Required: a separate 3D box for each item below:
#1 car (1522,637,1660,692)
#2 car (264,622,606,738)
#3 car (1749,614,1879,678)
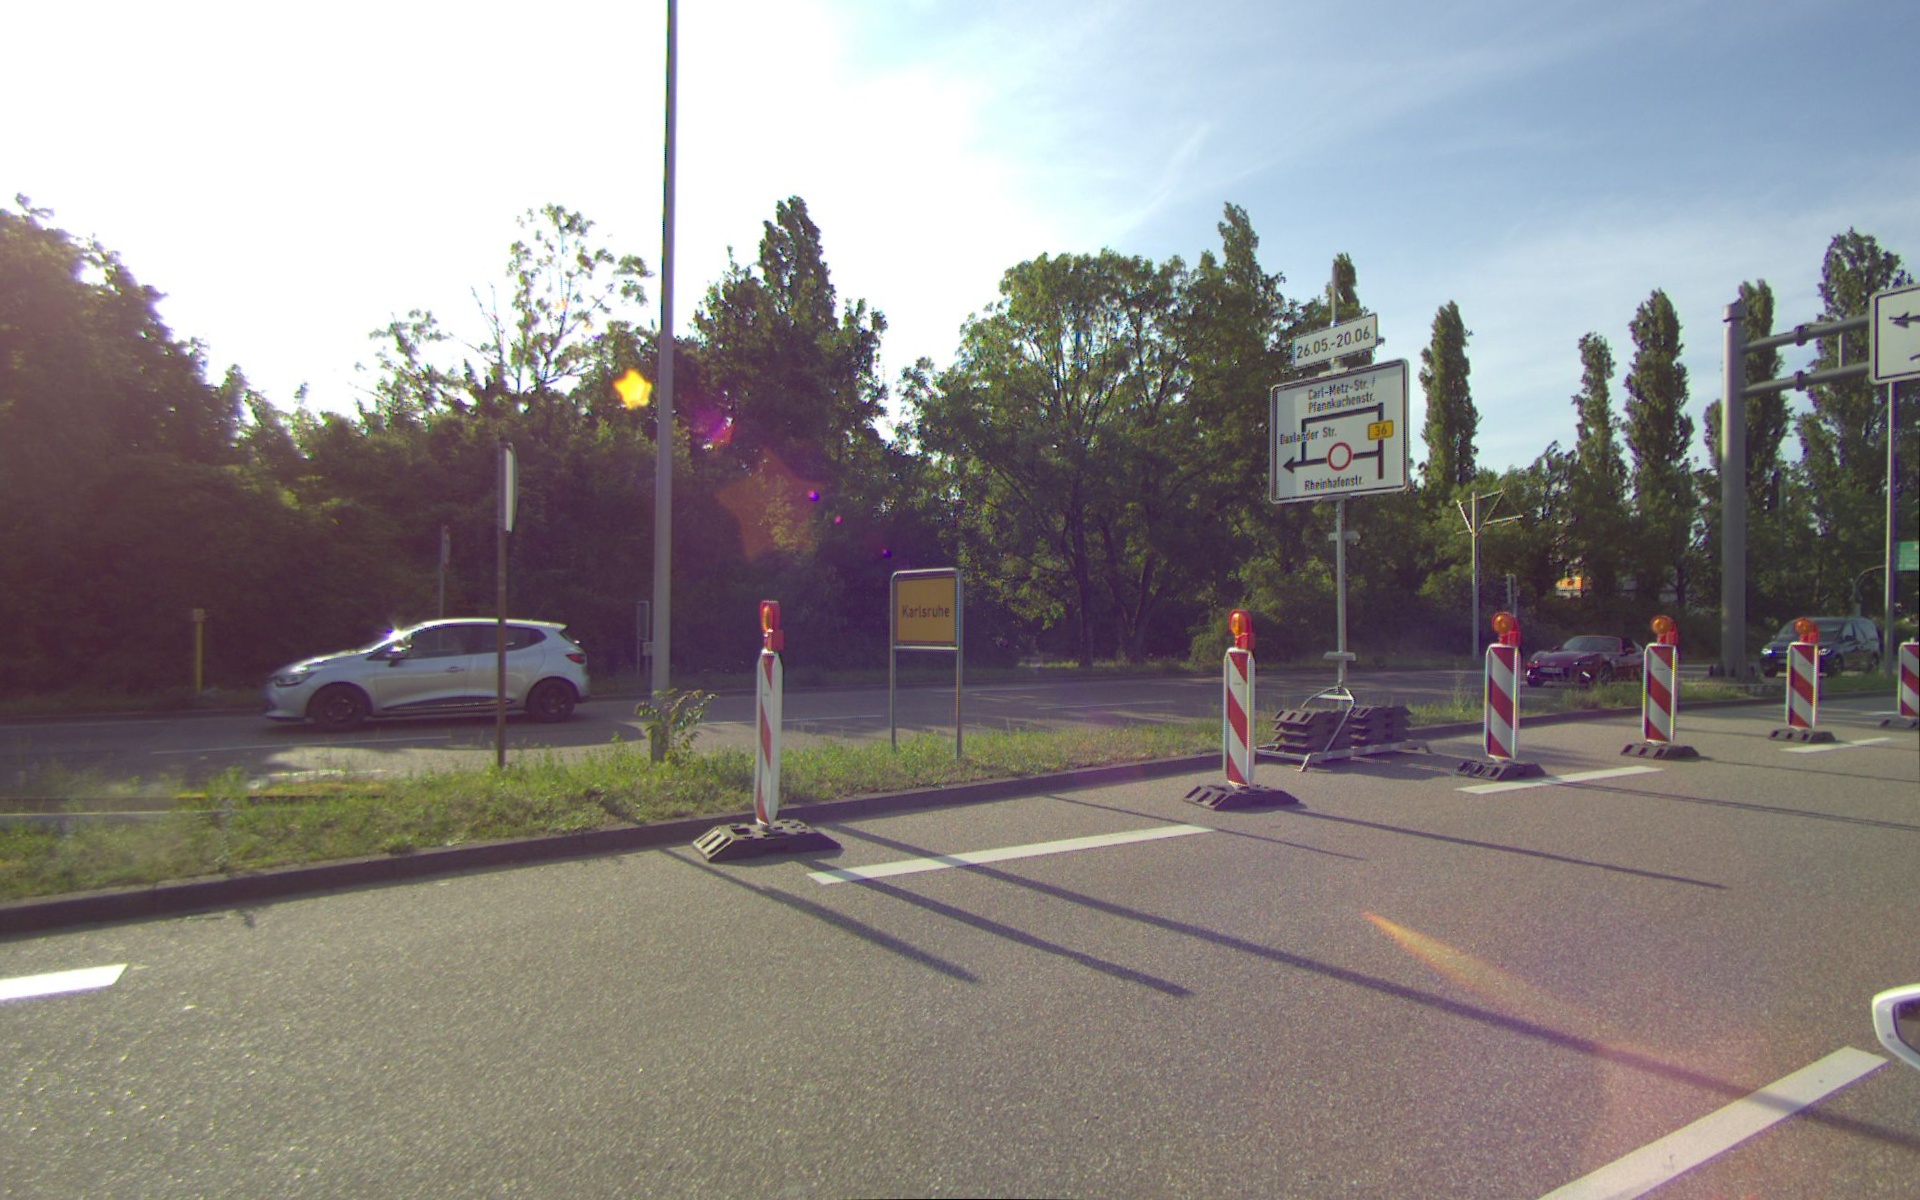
[{"bbox_3d":[15.298,1.516,24.309,3.634,1.173,1.502,1,0,-34],"label":"car"},{"bbox_3d":[-7.197,1.017,14.038,4.017,1.394,1.631,1,0,-31],"label":"car"},{"bbox_3d":[25.895,1.362,30.432,4.075,1.831,1.776,1,-1,-31],"label":"car"}]
